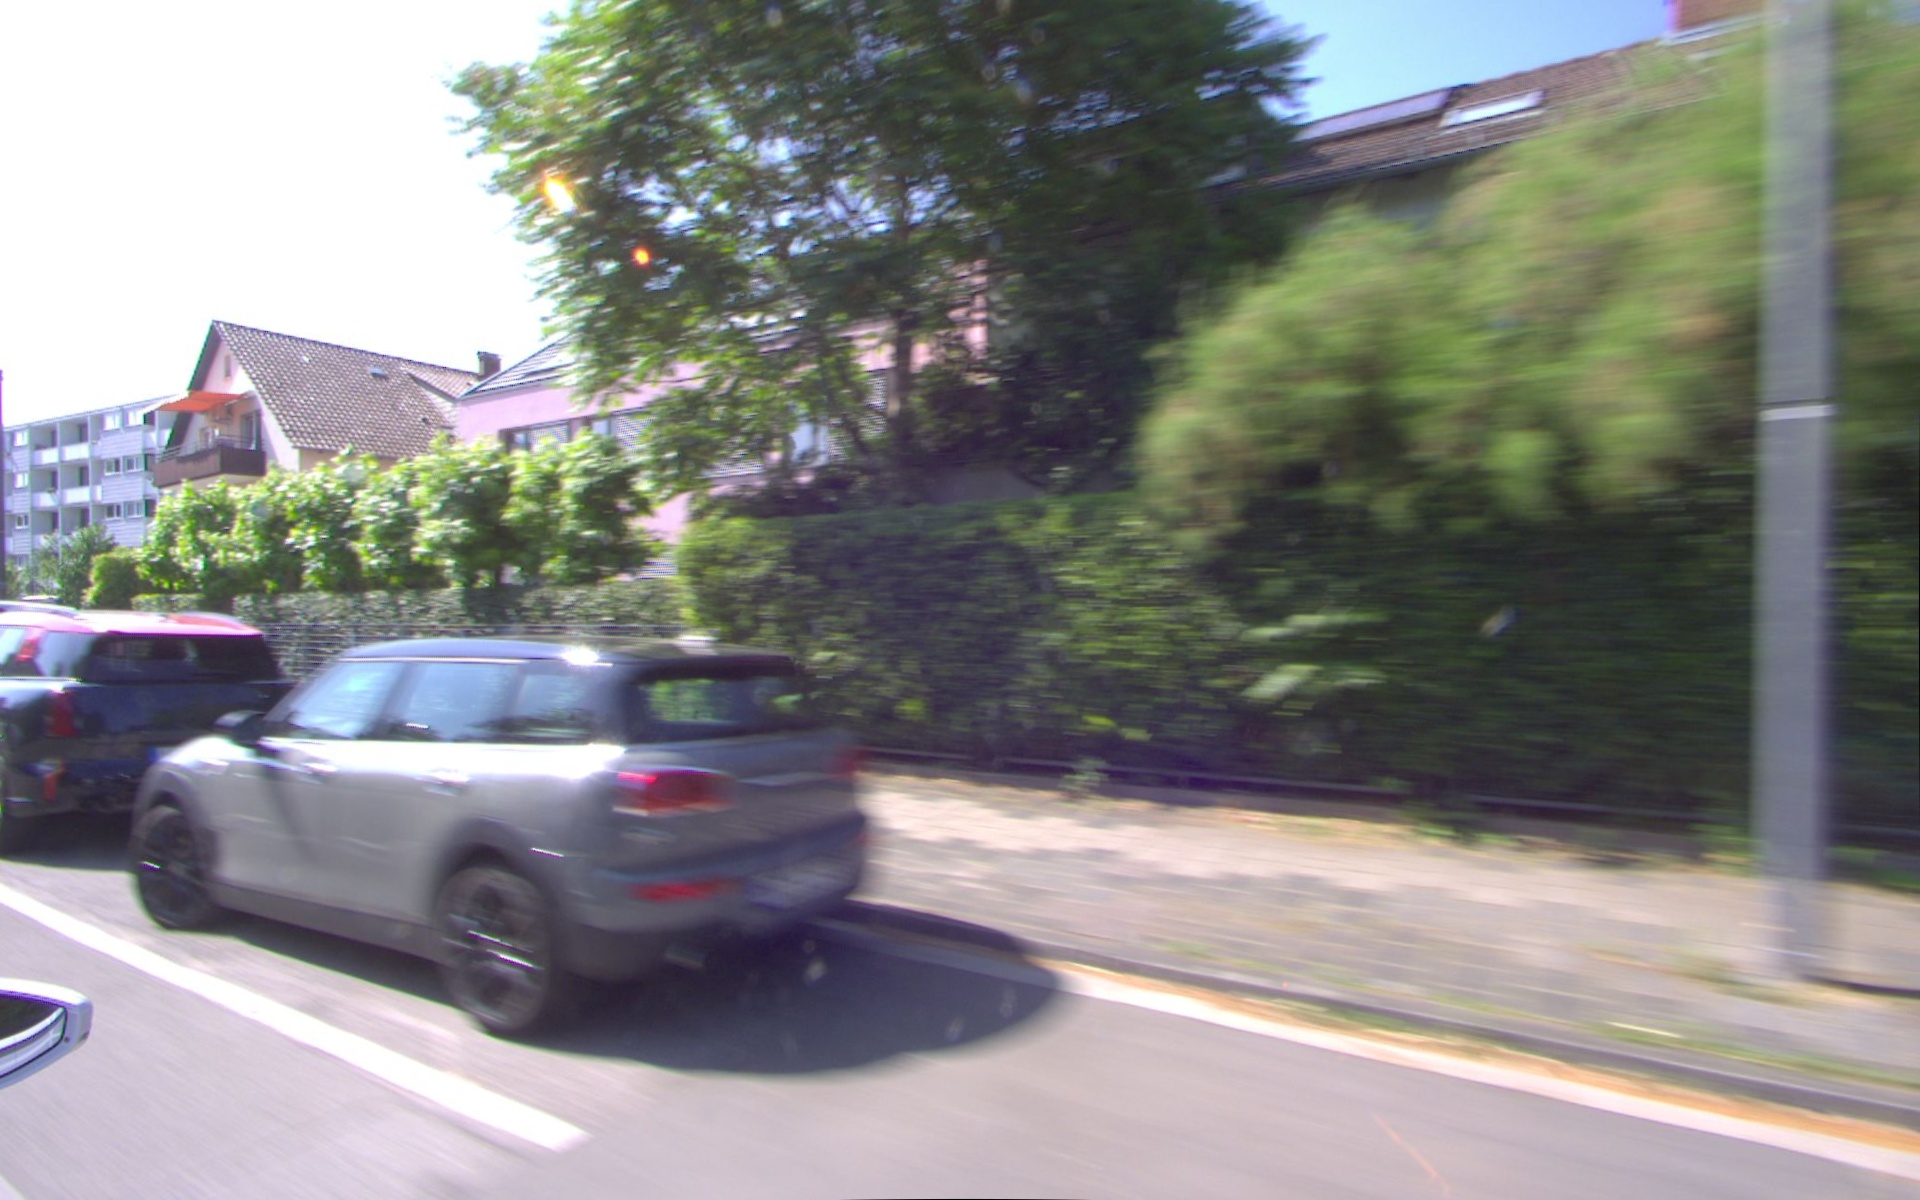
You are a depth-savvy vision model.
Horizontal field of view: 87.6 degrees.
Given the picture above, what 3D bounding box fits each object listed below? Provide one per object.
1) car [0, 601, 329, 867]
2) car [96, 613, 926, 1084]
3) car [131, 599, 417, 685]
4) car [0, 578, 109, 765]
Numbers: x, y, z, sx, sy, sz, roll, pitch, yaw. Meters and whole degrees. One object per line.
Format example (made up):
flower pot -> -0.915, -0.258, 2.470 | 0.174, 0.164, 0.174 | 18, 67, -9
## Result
car -> -6.982, 0.824, 7.995 | 4.253, 1.614, 1.758 | 0, 0, 34
car -> -2.328, 0.824, 4.983 | 4.007, 1.463, 1.759 | 0, 1, 30
car -> -15.462, 0.906, 22.910 | 1.951, 1.728, 5.076 | 0, -1, 33
car -> -11.420, 0.761, 11.171 | 4.536, 1.849, 1.759 | -2, -3, 34
